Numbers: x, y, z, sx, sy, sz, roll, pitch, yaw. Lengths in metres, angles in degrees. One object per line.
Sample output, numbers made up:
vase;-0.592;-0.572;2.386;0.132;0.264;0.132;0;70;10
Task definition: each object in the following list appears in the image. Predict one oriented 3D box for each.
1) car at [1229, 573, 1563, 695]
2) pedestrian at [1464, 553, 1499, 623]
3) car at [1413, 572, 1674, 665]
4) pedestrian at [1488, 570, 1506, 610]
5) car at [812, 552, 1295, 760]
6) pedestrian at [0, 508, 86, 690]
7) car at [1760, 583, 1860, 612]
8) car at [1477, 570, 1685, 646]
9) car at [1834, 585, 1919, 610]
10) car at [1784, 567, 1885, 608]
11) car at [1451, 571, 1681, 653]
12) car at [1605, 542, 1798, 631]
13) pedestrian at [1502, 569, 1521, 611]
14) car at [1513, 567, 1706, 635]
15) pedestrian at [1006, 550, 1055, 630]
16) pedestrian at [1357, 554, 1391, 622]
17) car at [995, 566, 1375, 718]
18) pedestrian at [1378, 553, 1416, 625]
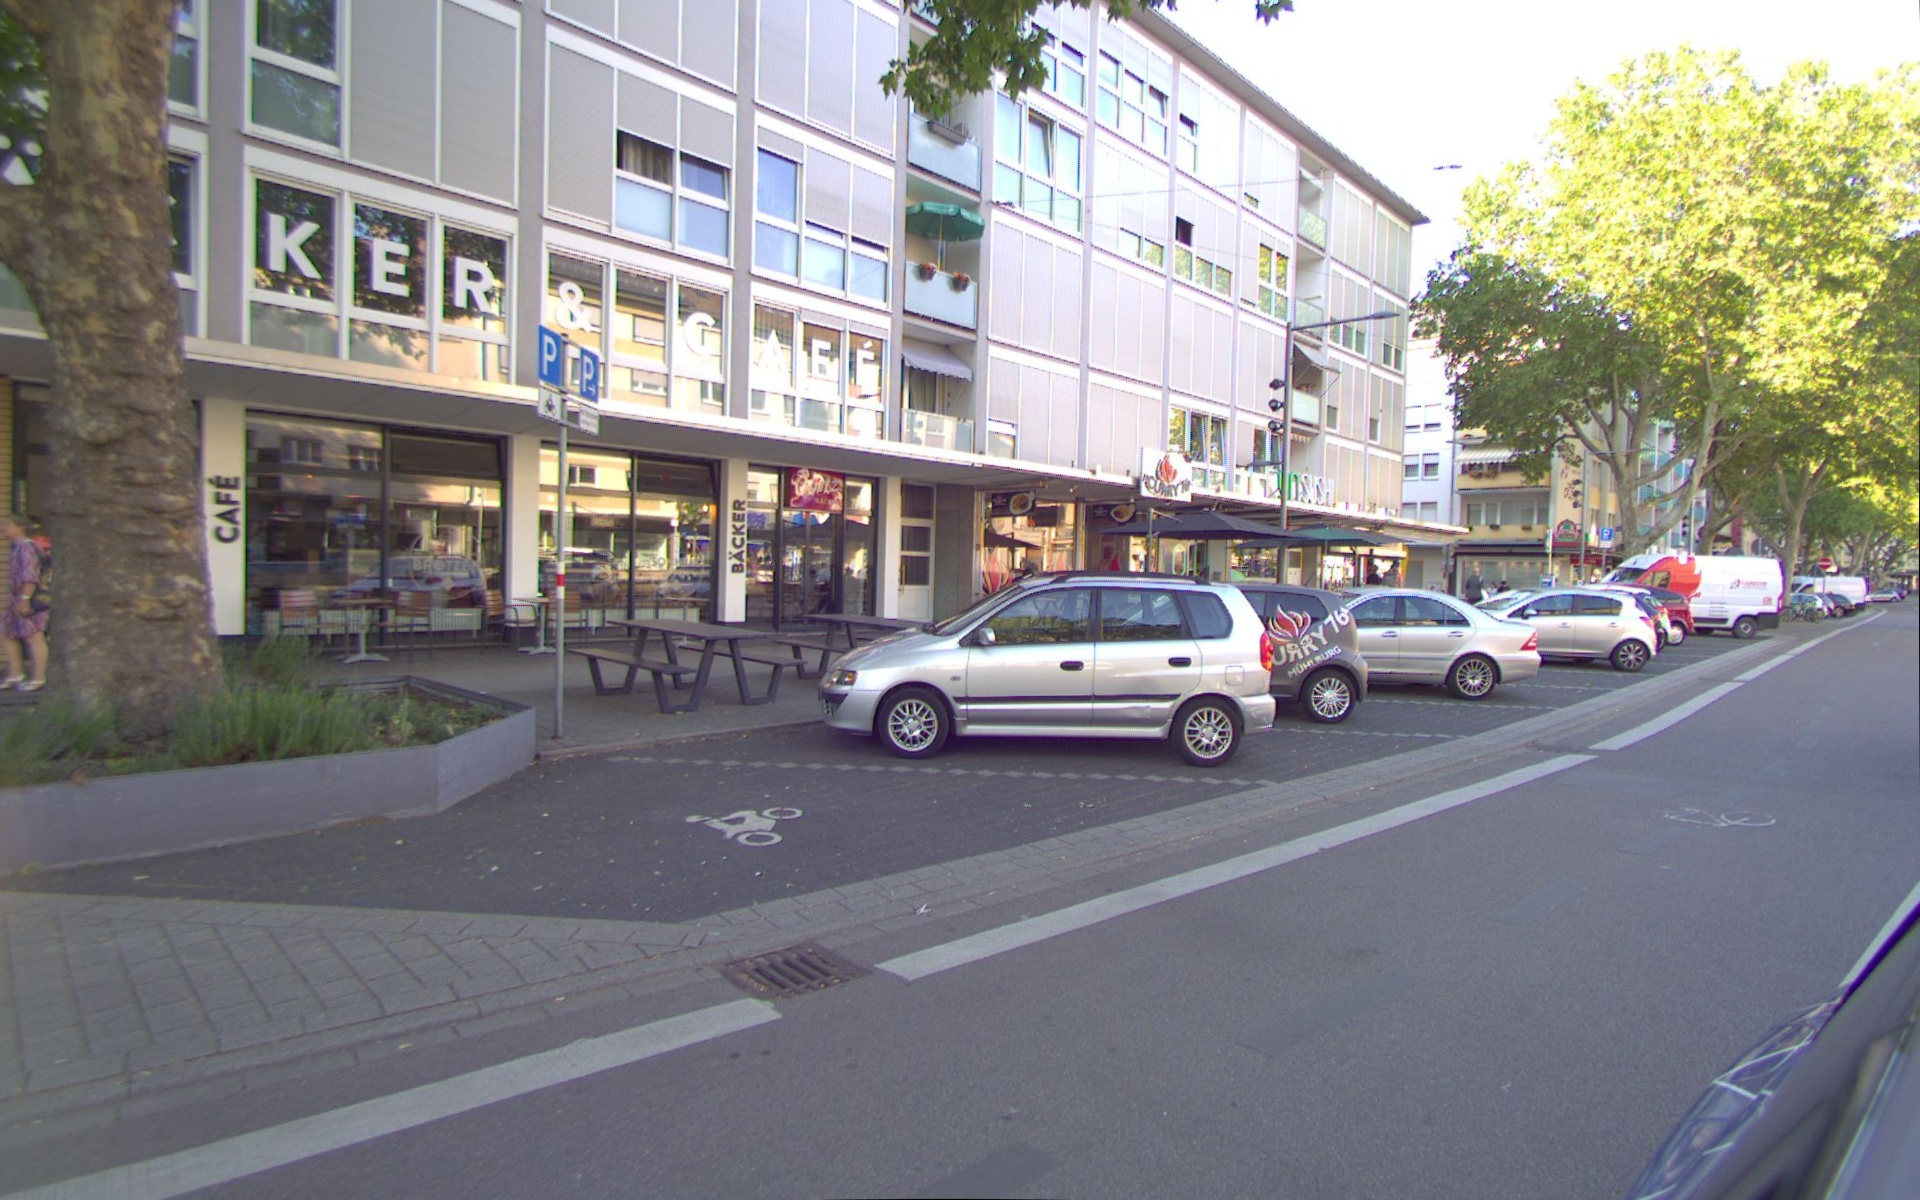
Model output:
car;5.932;0.427;14.081;3.866;1.418;1.598;2;3;0
pedestrian;15.405;-0.358;29.904;0.746;2.038;0.550;3;2;45
car;10.882;0.304;19.102;3.871;1.446;1.559;3;3;4
pedestrian;22.636;-0.425;42.654;0.536;1.660;0.470;2;2;45
car;0.729;0.432;9.084;3.906;1.560;1.679;2;3;-3
pedestrian;-8.624;-0.028;9.350;0.650;1.611;0.777;5;3;44
car;46.919;-0.148;55.941;3.864;1.422;1.782;1;2;3
car;14.962;0.148;24.628;3.888;1.445;1.669;4;5;17
car;55.128;-0.137;60.608;3.864;1.350;1.782;1;2;3
car;55.705;-0.830;64.502;4.512;2.499;1.977;1;1;3
car;13.062;0.214;22.067;3.886;1.446;1.670;4;3;16
car;22.908;-0.428;31.388;4.514;2.525;1.675;2;1;5
pedestrian;23.027;-0.435;42.271;0.544;1.741;0.450;2;2;45
car;17.110;-0.013;26.870;3.888;1.445;1.669;4;5;17
pedestrian;1.437;-0.216;20.624;0.757;1.602;0.583;0;2;-39
pedestrian;12.350;-0.362;30.203;0.746;2.000;0.566;3;2;45
car;2.429;0.425;11.573;3.864;1.446;1.679;2;3;-3
pedestrian;12.651;-0.337;29.305;0.746;2.038;0.752;3;2;45
